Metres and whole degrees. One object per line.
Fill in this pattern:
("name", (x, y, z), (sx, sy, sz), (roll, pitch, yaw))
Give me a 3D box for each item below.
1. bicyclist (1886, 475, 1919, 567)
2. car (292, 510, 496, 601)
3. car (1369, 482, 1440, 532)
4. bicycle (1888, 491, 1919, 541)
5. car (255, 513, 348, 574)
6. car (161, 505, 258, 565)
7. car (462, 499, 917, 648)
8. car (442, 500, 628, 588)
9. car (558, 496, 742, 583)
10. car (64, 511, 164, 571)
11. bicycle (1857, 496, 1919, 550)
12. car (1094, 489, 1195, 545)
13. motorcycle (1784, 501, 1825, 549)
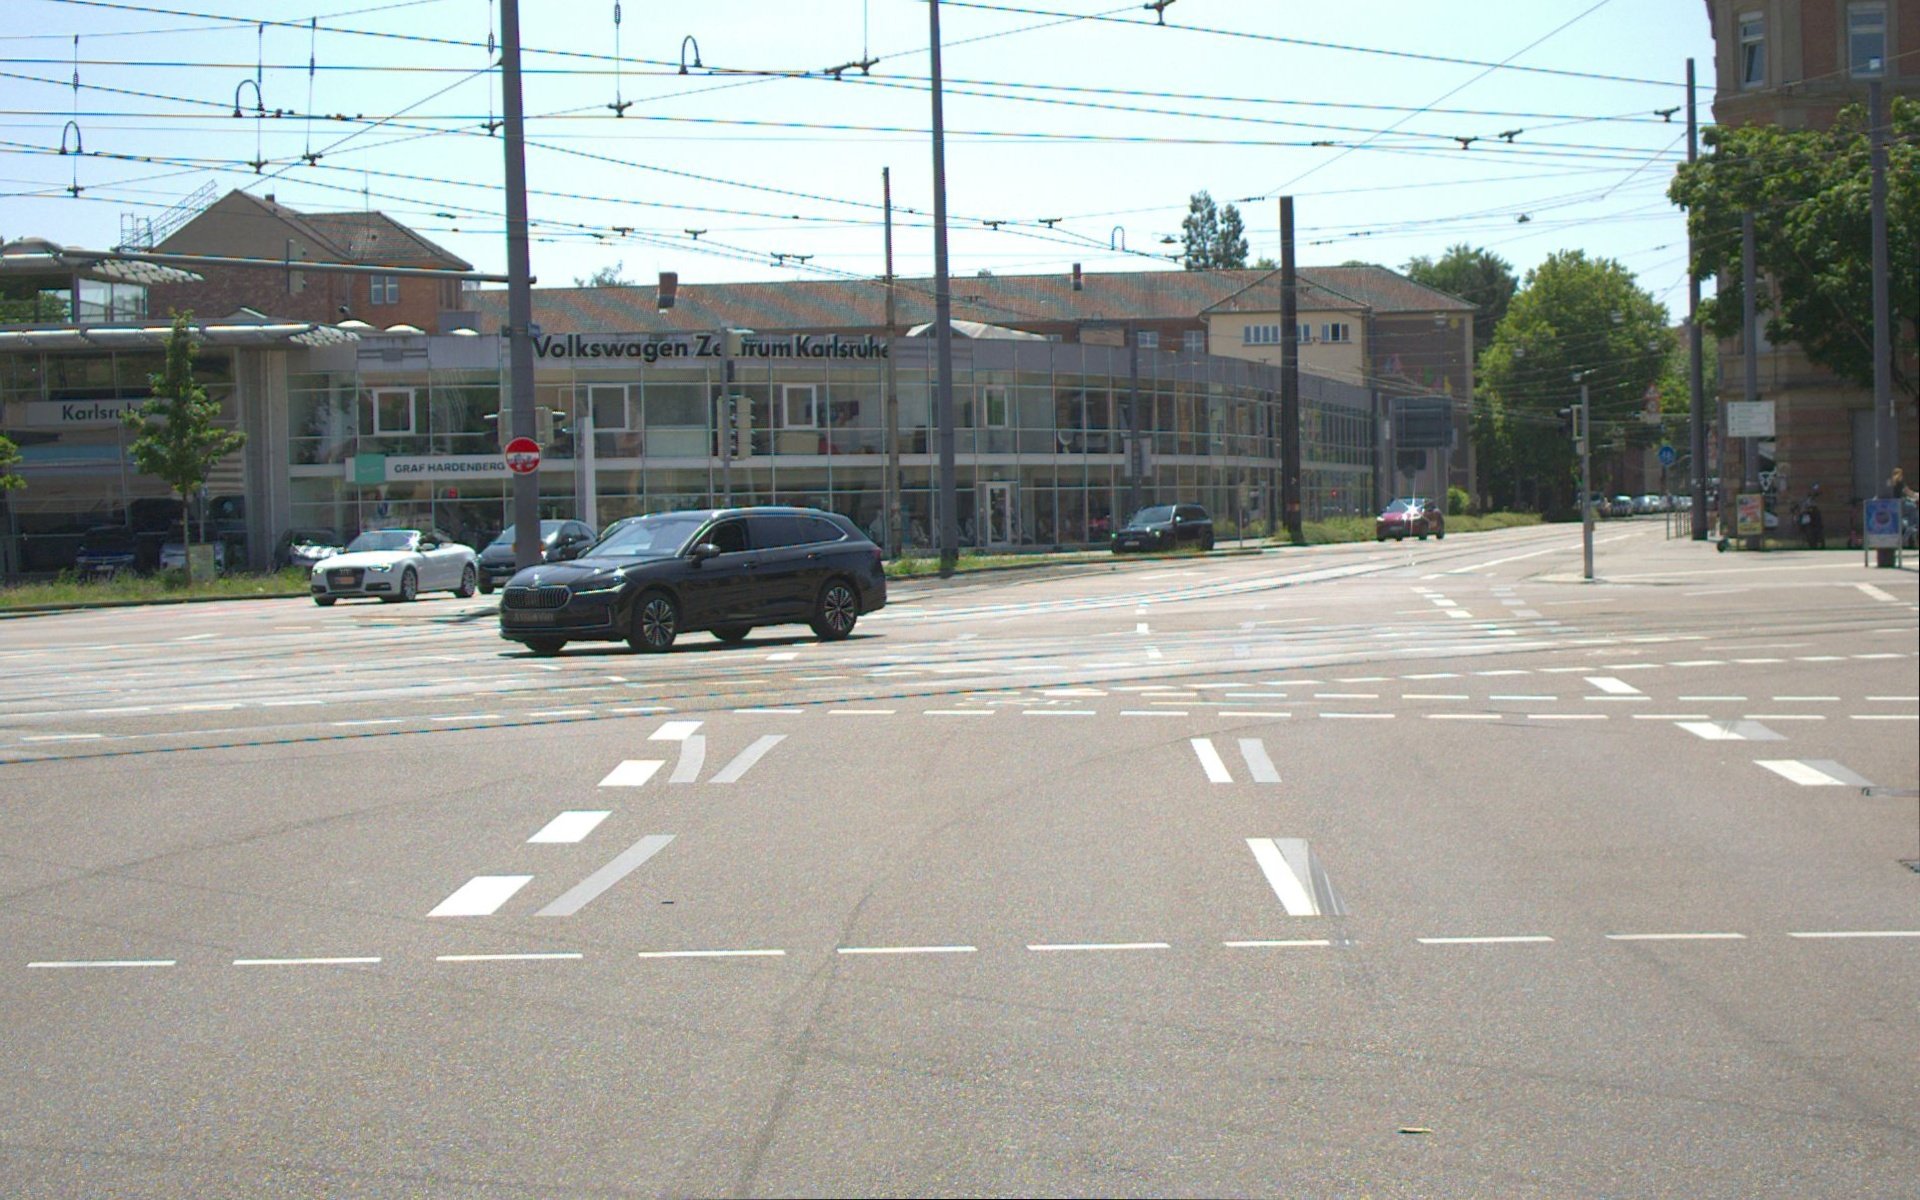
("bicyclist", (19.010, -1.566, 68.401), (1.060, 1.802, 0.479), (1, 0, -25))
("car", (-10.564, -0.863, 64.550), (2.078, 1.574, 4.844), (-1, 2, 13))
("car", (16.588, -3.445, 128.188), (1.995, 1.769, 3.997), (1, 1, 17))
("bicycle", (21.999, -1.947, 80.002), (0.442, 1.142, 2.093), (1, 1, 6))
("car", (-19.185, -1.639, 100.286), (1.920, 1.701, 4.000), (1, 1, 0))
("car", (-21.889, -1.874, 100.381), (1.920, 1.701, 4.000), (1, 1, 0))
("car", (-2.865, -0.324, 37.344), (1.998, 1.460, 4.834), (0, 2, 43))
("car", (-8.675, -1.176, 70.687), (1.995, 1.694, 4.843), (-1, 2, 17))
("car", (-6.145, -1.232, 68.815), (1.995, 1.631, 4.843), (-1, 2, 17))
("car", (-24.702, -1.718, 100.466), (1.920, 1.701, 4.000), (1, 1, 0))
("bicycle", (18.909, -1.519, 68.359), (2.105, 1.049, 0.693), (1, 1, -25))
("car", (5.825, -2.629, 107.961), (2.080, 1.677, 4.843), (-1, 2, 17))
("motorcycle", (19.518, -1.738, 79.477), (0.580, 1.071, 1.946), (-1, 1, 3))
